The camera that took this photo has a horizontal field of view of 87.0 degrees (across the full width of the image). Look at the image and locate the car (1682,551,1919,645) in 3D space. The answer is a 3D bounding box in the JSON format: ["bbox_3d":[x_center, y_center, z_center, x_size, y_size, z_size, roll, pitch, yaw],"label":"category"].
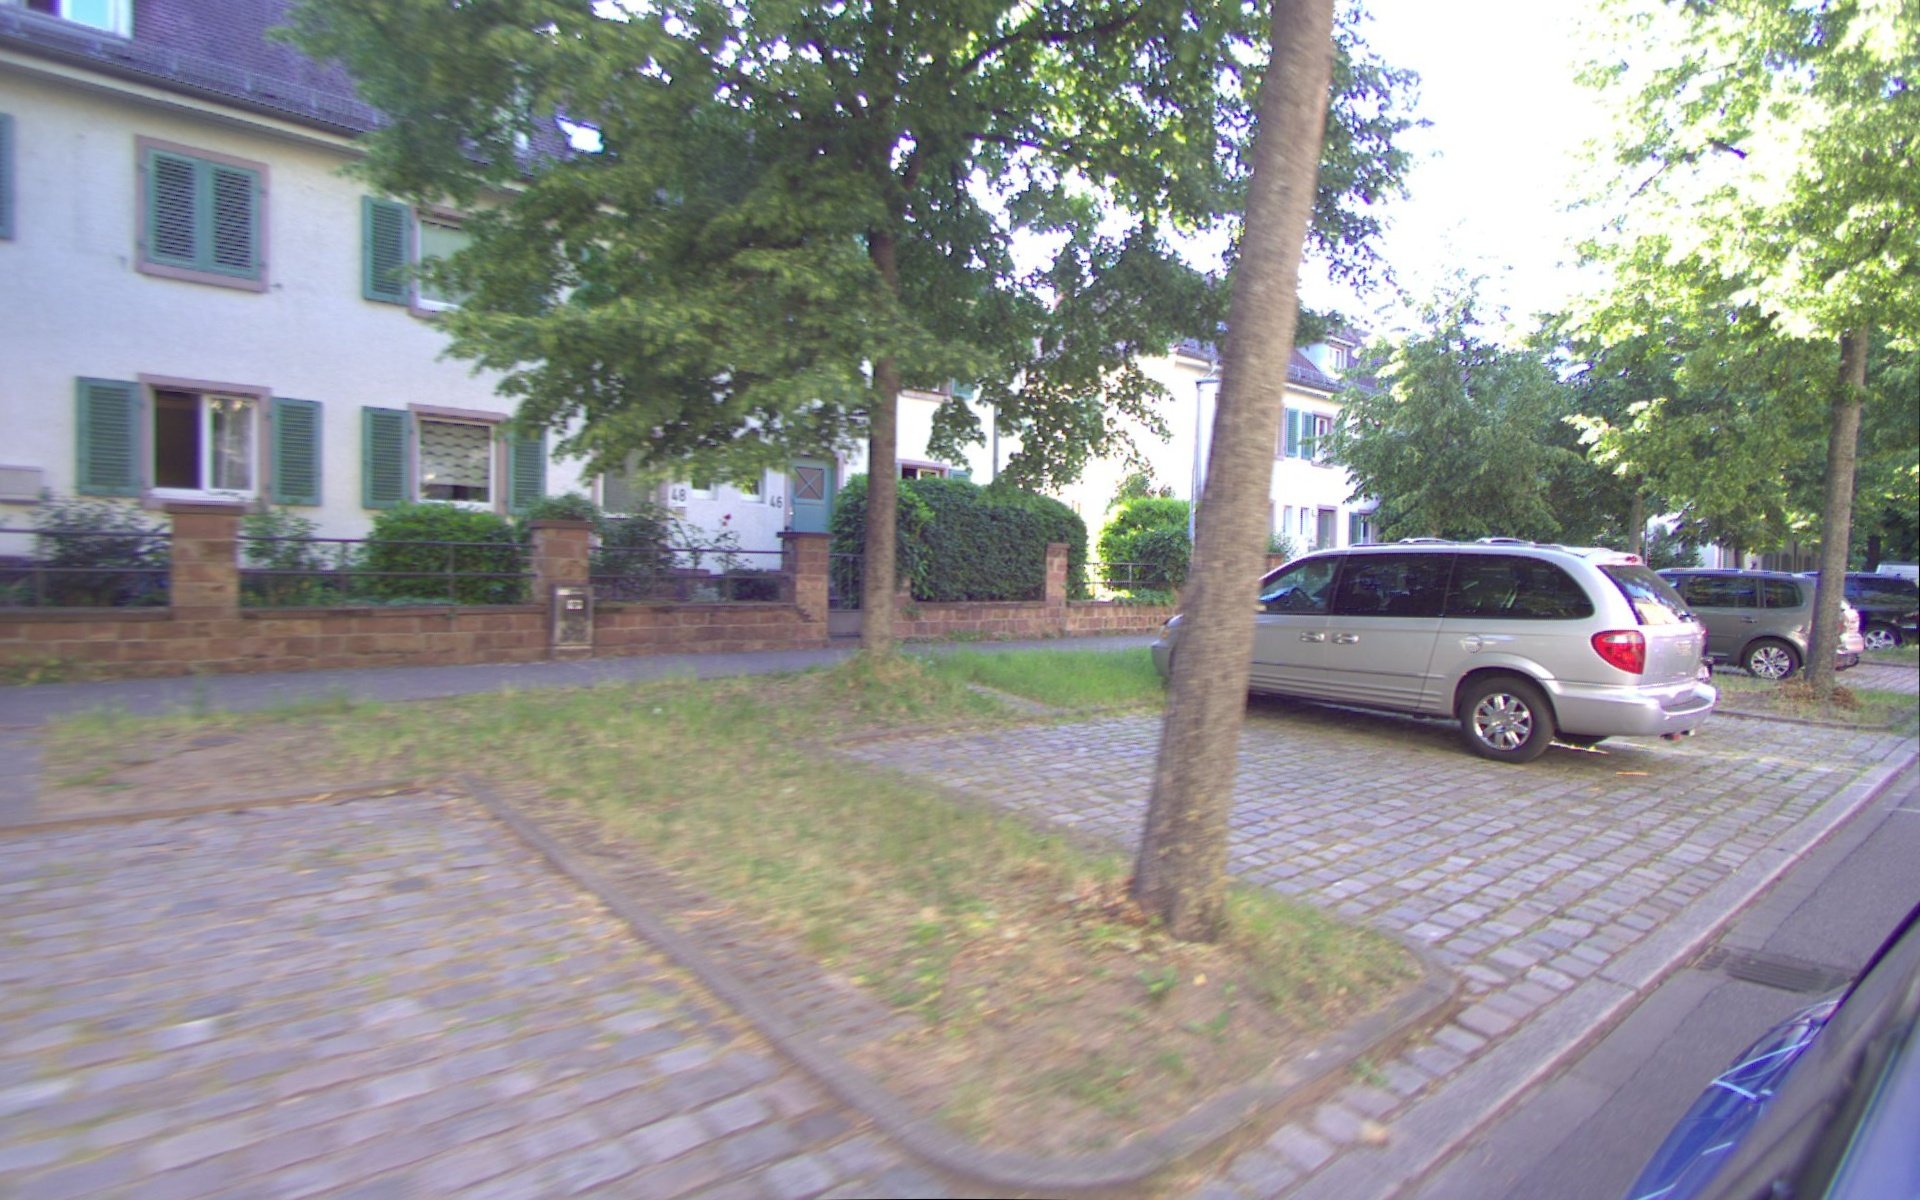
[{"bbox_3d":[19.506,-0.100,22.997,1.872,1.697,4.597,0,5,-38],"label":"car"}]

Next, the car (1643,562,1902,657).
[{"bbox_3d":[16.146,0.116,20.254,1.561,1.470,3.732,0,5,-40],"label":"car"}]

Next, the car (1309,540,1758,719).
[{"bbox_3d":[6.339,0.198,11.617,1.663,1.494,4.080,1,5,-39],"label":"car"}]

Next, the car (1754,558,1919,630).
[{"bbox_3d":[24.912,-0.180,27.829,1.843,1.652,4.487,0,6,-41],"label":"car"}]

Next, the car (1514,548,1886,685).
[{"bbox_3d":[11.723,0.136,16.282,4.543,1.652,1.784,7,6,44],"label":"car"}]

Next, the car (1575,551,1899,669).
[{"bbox_3d":[13.920,0.073,18.397,1.659,1.652,4.289,0,5,-37],"label":"car"}]

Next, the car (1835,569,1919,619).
[{"bbox_3d":[33.922,-0.128,35.329,1.862,1.557,4.848,0,6,-42],"label":"car"}]

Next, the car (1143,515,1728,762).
[{"bbox_3d":[4.126,0.123,9.576,1.800,1.730,4.634,0,4,-38],"label":"car"}]

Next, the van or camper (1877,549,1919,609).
[{"bbox_3d":[43.951,-0.745,43.969,2.124,2.546,5.735,0,5,-40],"label":"van or camper"}]
